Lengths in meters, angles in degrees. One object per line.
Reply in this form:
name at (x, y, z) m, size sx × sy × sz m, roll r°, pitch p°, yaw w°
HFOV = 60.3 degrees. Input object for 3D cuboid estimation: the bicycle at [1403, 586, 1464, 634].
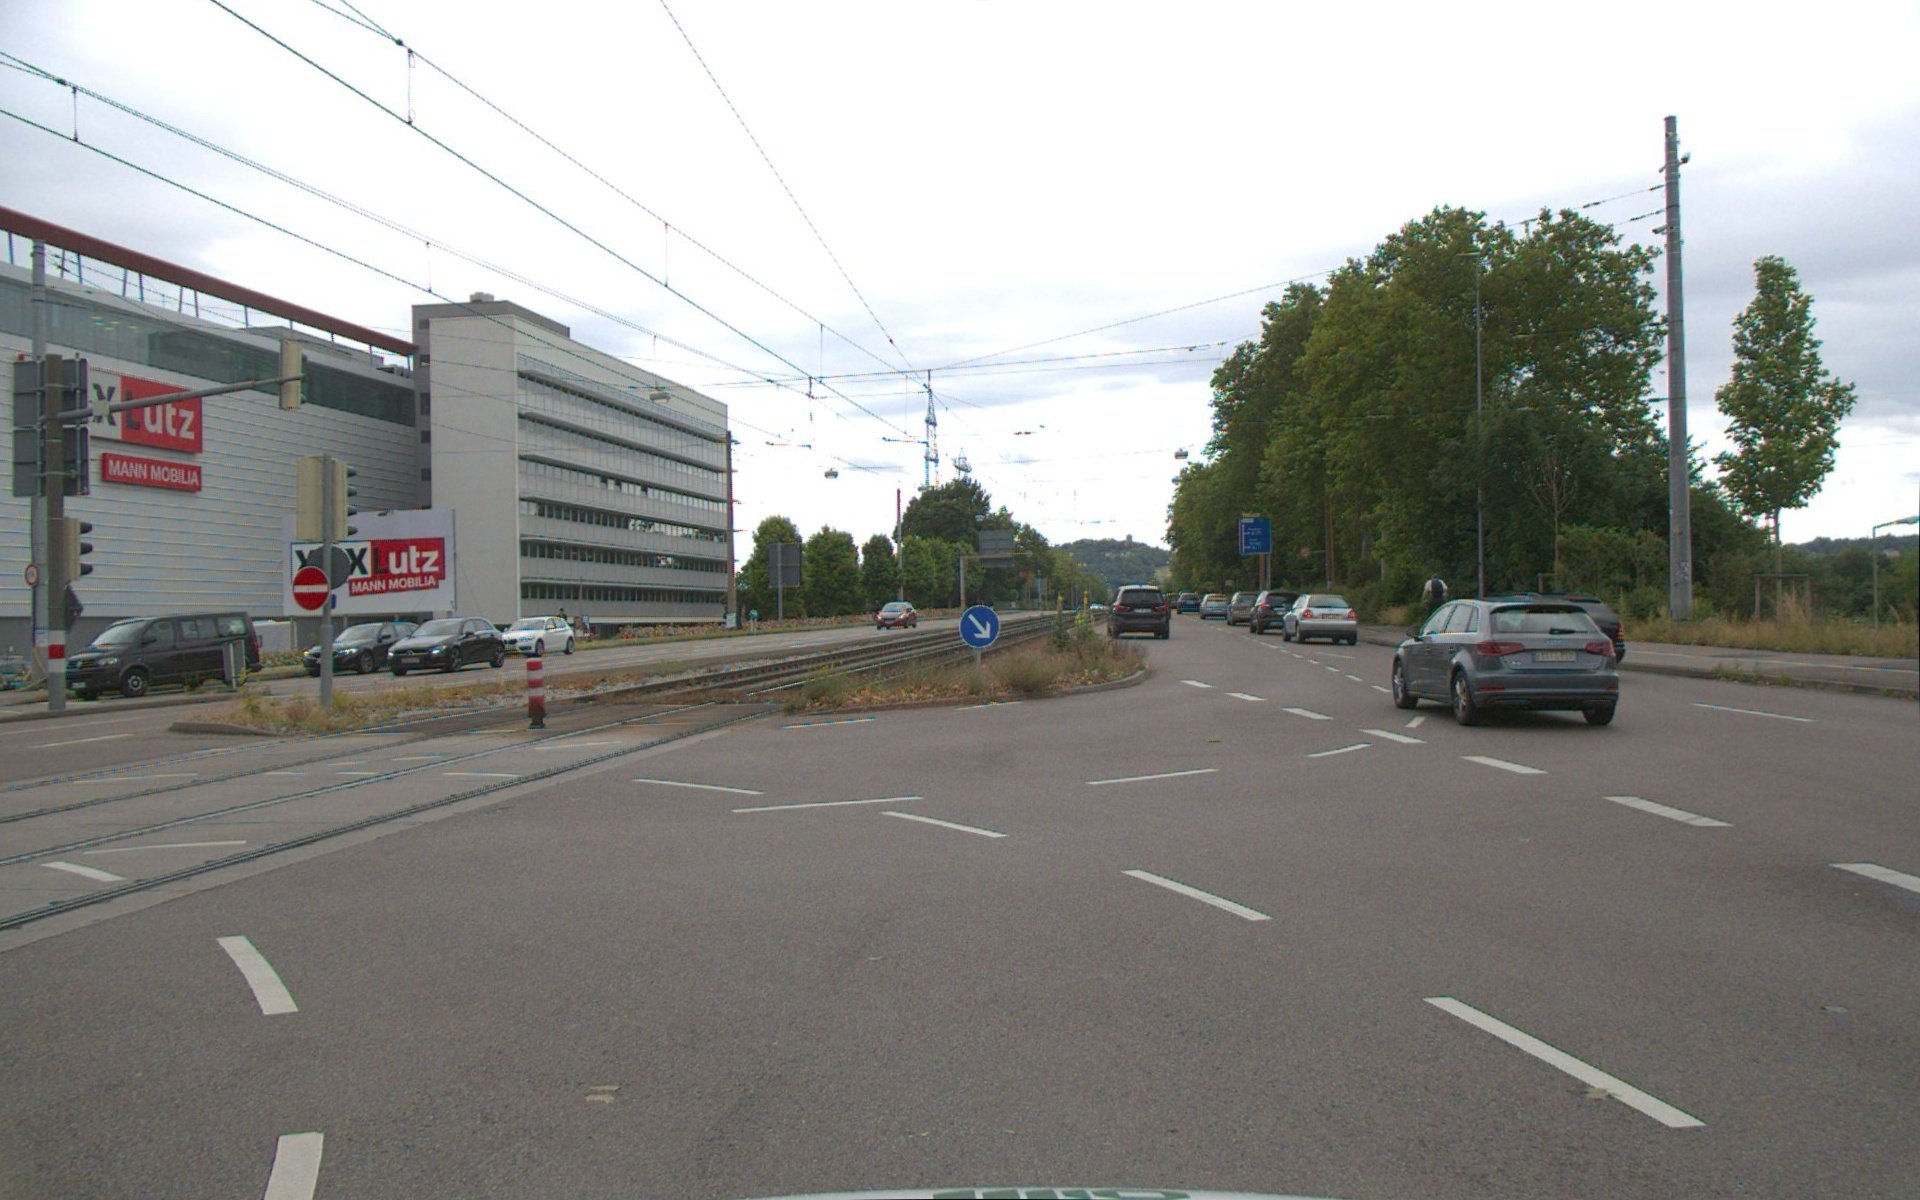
bicycle at (12.912, 0.259, 45.169) m, size 0.800 × 1.205 × 2.521 m, roll -2°, pitch 1°, yaw -3°

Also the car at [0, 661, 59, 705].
car at (-39.217, 3.416, 68.001) m, size 1.840 × 1.695 × 4.003 m, roll -2°, pitch -1°, yaw 6°

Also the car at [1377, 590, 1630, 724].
car at (6.359, 0.613, 19.827) m, size 1.702 × 1.426 × 4.077 m, roll 0°, pitch 0°, yaw 0°

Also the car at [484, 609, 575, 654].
car at (-15.504, 1.112, 59.765) m, size 1.691 × 1.566 × 4.049 m, roll 0°, pitch 0°, yaw 9°

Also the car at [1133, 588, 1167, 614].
car at (11.136, 0.051, 97.158) m, size 1.710 × 1.456 × 3.376 m, roll 0°, pitch 1°, yaw 1°

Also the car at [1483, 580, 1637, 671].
car at (10.637, 0.449, 29.611) m, size 1.698 × 1.505 × 4.322 m, roll 0°, pitch -1°, yaw 7°

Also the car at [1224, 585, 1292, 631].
car at (10.795, 0.296, 60.248) m, size 1.818 × 1.589 × 4.318 m, roll 1°, pitch 0°, yaw 2°

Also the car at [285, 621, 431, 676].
car at (-17.708, 1.396, 48.876) m, size 1.920 × 1.489 × 4.325 m, roll -1°, pitch 0°, yaw 14°

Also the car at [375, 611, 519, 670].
car at (-13.903, 1.078, 45.092) m, size 1.792 × 1.489 × 4.211 m, roll -1°, pitch 0°, yaw 14°

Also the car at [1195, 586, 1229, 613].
car at (14.771, -0.003, 96.980) m, size 1.777 × 1.506 × 3.674 m, roll 0°, pitch -1°, yaw 5°

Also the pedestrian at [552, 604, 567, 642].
pedestrian at (-18.848, 1.084, 77.910) m, size 0.684 × 1.822 × 0.640 m, roll 0°, pitch -1°, yaw -14°

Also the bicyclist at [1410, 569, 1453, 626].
bicyclist at (12.862, -0.065, 45.120) m, size 0.800 × 1.504 × 0.999 m, roll -2°, pitch 1°, yaw -3°

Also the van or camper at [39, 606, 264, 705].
van or camper at (-20.180, 1.343, 41.510) m, size 2.075 × 2.048 × 4.751 m, roll -4°, pitch 0°, yaw 24°

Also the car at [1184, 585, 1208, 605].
car at (18.749, -0.383, 131.467) m, size 1.777 × 1.506 × 3.674 m, roll 0°, pitch -1°, yaw 5°

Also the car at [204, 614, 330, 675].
car at (-36.276, 2.301, 86.894) m, size 2.701 × 3.042 × 6.956 m, roll 0°, pitch -1°, yaw 10°

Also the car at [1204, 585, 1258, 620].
car at (12.674, 0.129, 77.538) m, size 1.818 × 1.589 × 4.317 m, roll 1°, pitch 0°, yaw 0°

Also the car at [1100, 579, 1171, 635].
car at (5.465, 0.206, 51.948) m, size 1.794 × 1.665 × 4.317 m, roll -1°, pitch 0°, yaw 0°

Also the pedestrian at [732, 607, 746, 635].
pedestrian at (-13.069, 1.243, 97.881) m, size 0.535 × 1.683 × 0.611 m, roll -1°, pitch -1°, yaw 42°

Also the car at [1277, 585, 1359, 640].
car at (10.421, 0.328, 48.329) m, size 1.692 × 1.535 × 3.633 m, roll 0°, pitch 0°, yaw 1°

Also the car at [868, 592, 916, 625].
car at (-3.822, 0.461, 93.659) m, size 1.951 × 1.758 × 4.003 m, roll -2°, pitch 0°, yaw 8°
